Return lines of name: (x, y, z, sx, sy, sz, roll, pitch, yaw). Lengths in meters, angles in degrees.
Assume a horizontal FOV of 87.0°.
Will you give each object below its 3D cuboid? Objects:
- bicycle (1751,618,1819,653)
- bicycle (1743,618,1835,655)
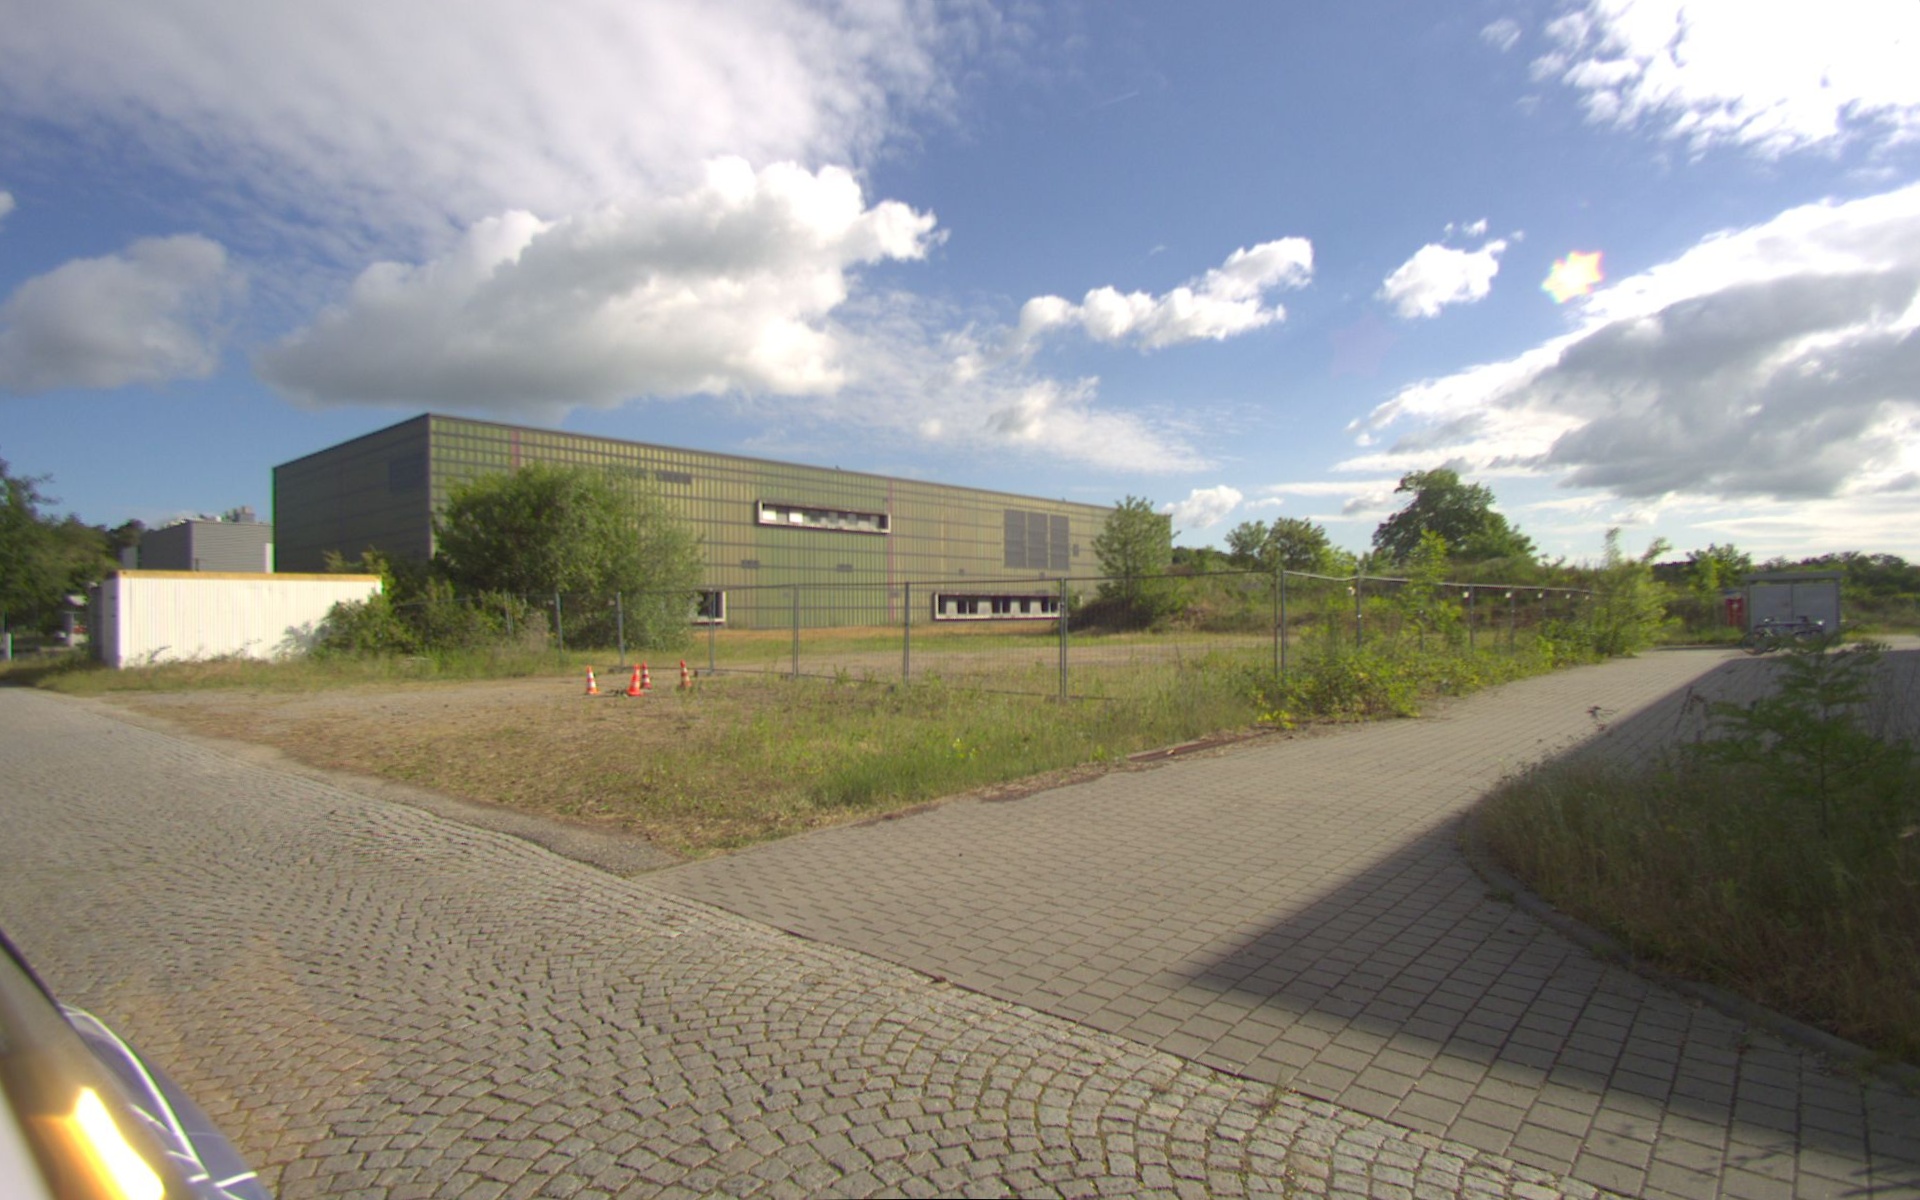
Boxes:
bicycle: (22.773, 0.975, 27.945, 1.357, 0.906, 0.511, -5, -4, 44)
bicycle: (24.212, 1.070, 29.587, 1.968, 0.976, 0.830, -5, -4, 44)
